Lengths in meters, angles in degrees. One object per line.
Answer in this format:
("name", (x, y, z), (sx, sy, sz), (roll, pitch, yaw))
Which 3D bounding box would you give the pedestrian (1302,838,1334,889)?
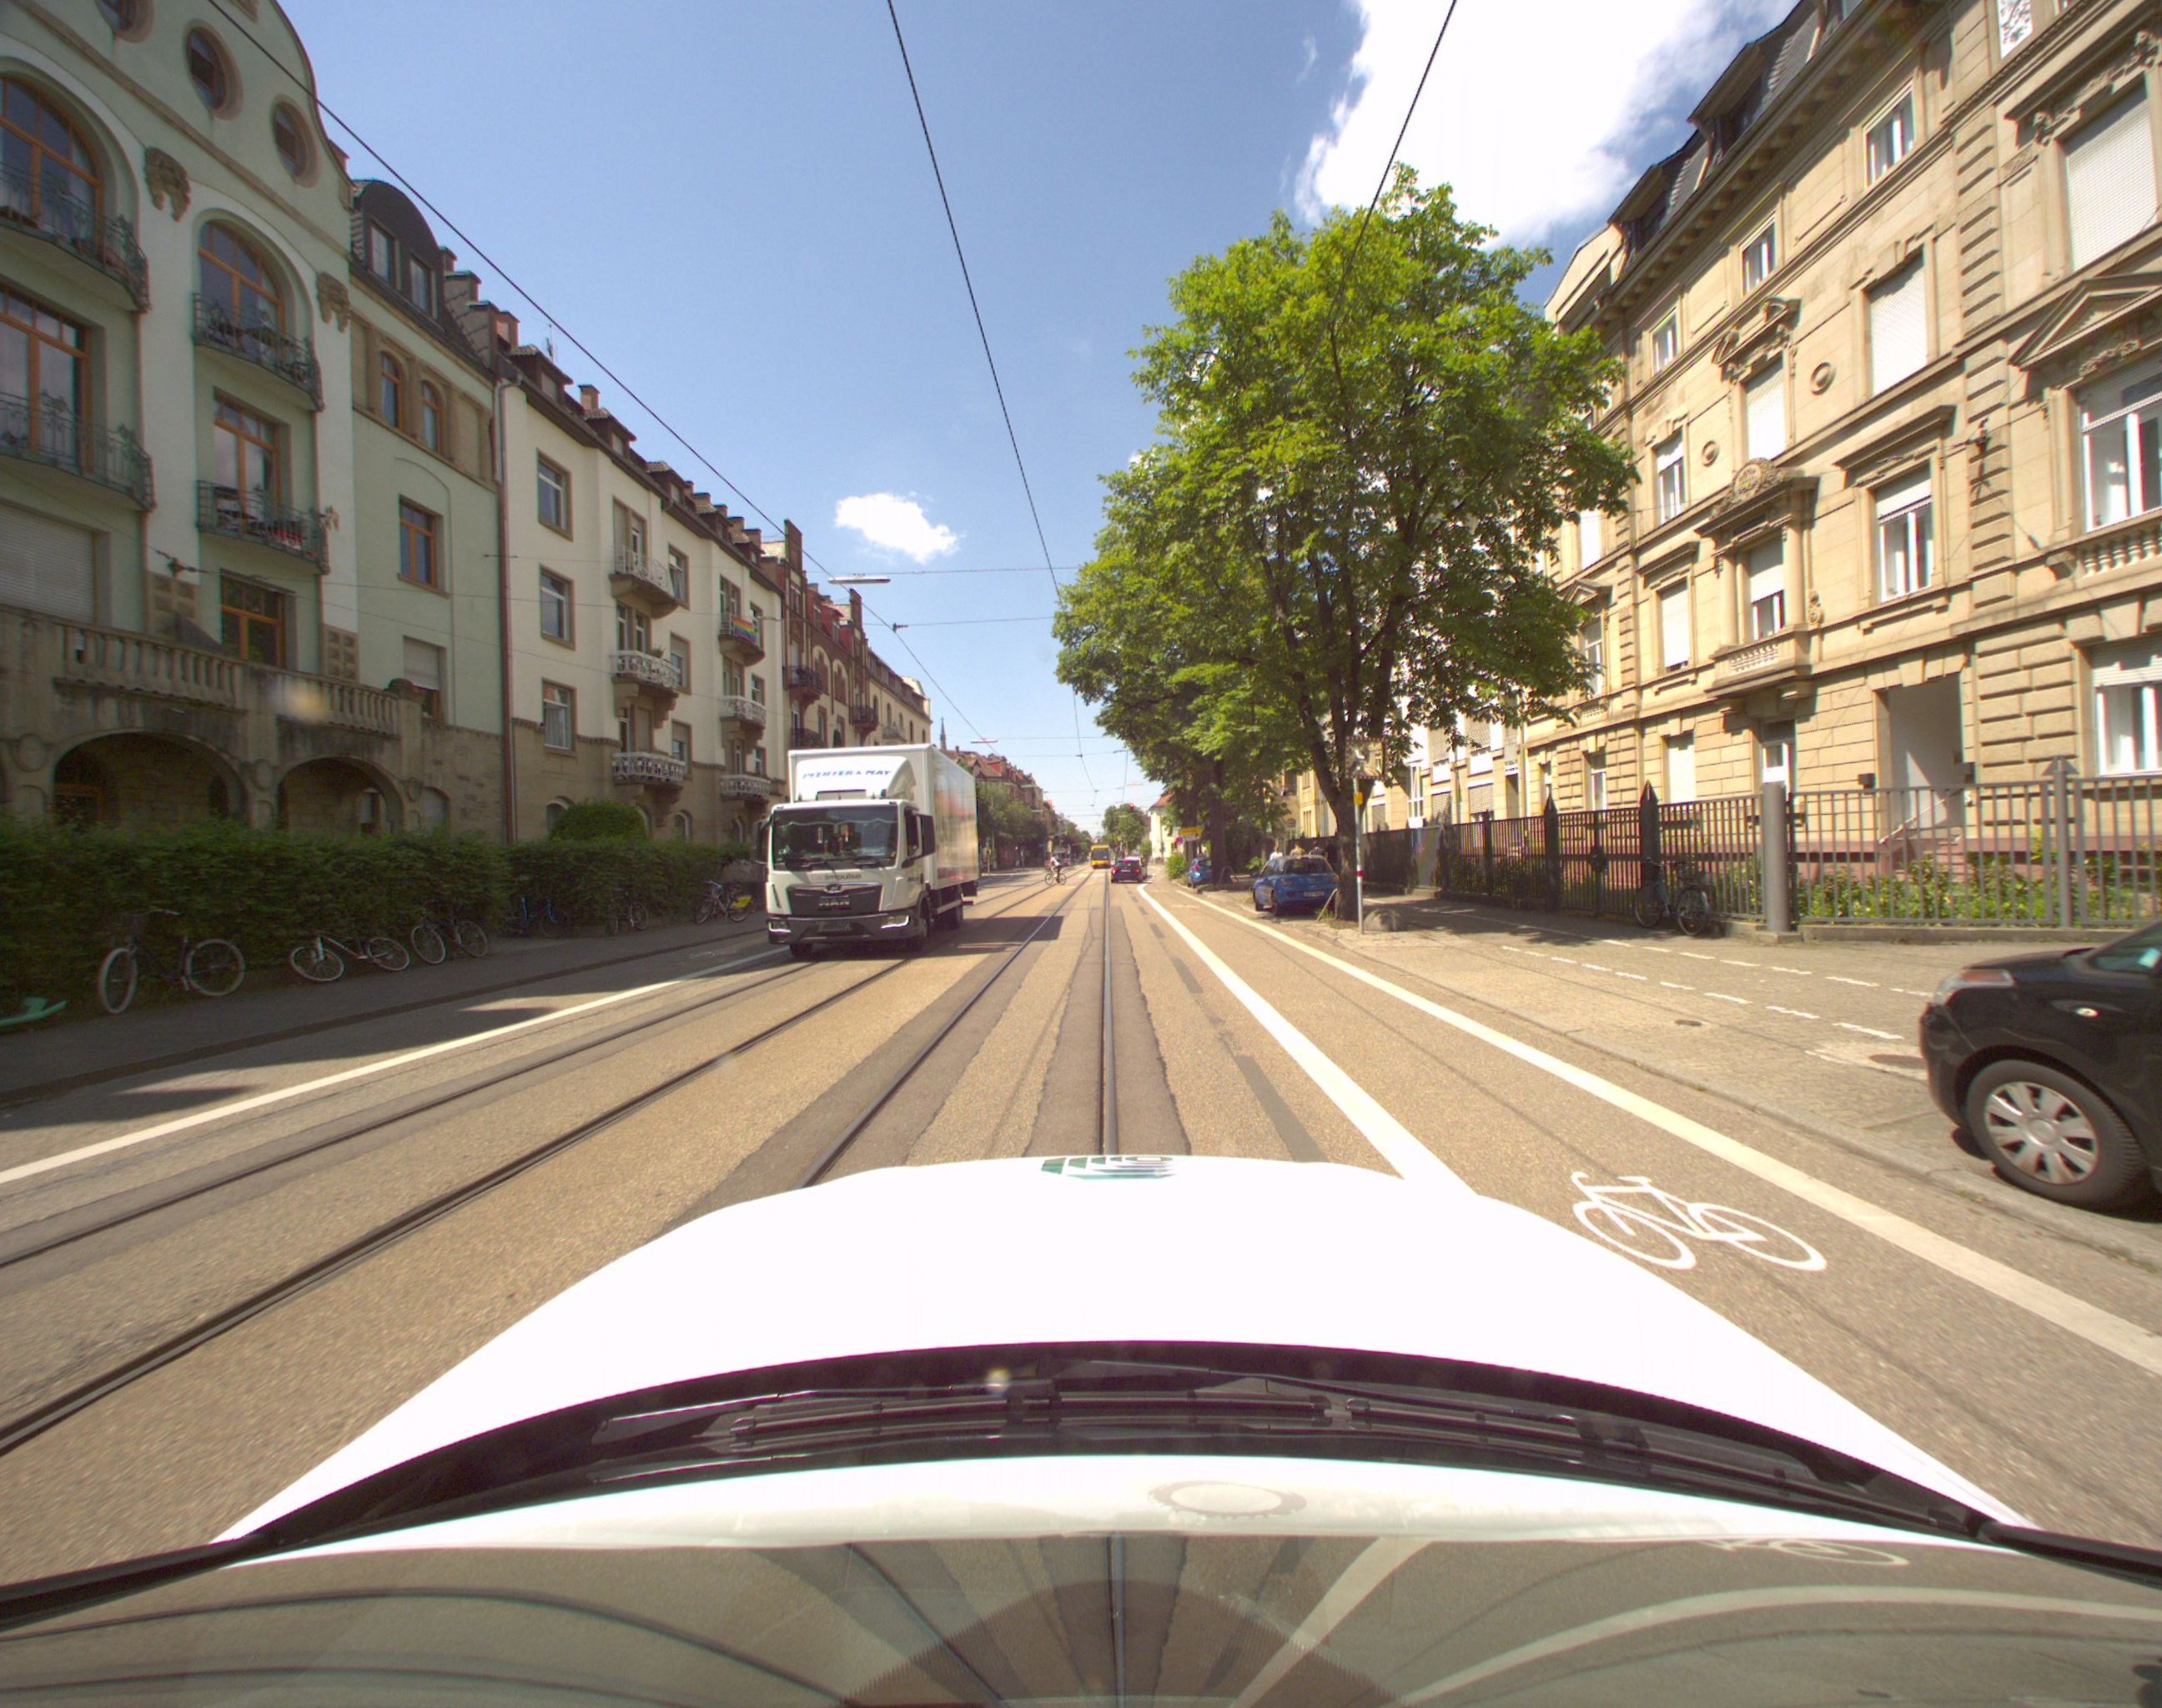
("pedestrian", (8.302, 0.329, 28.593), (0.784, 1.761, 1.052), (-2, 0, 1))

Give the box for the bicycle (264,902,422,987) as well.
("bicycle", (-10.381, 1.242, 11.546), (0.605, 0.989, 1.708), (2, 0, 1))

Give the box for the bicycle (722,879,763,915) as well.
("bicycle", (-10.020, 1.269, 24.155), (0.411, 0.966, 1.726), (2, 0, 2))

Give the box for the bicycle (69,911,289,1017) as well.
("bicycle", (-10.486, 1.240, 9.572), (0.605, 0.989, 1.708), (2, 0, 1))

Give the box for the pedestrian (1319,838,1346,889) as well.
("pedestrian", (9.217, 0.357, 29.888), (0.658, 1.811, 0.977), (-2, 0, 1))

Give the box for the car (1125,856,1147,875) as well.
("car", (4.552, 0.937, 66.902), (1.682, 1.514, 3.828), (0, 0, 6))

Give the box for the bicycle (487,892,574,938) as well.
("bicycle", (-11.732, 1.303, 17.368), (1.566, 0.928, 0.391), (1, 0, 1))

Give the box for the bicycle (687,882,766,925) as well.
("bicycle", (-9.180, 1.268, 21.132), (0.602, 0.999, 1.786), (-2, 0, 37))

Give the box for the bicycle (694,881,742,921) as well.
("bicycle", (-9.910, 1.262, 22.278), (0.462, 0.999, 1.708), (2, 0, 2))

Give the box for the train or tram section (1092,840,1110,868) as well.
("train or tram section", (2.692, 0.011, 109.793), (2.182, 3.482, 8.848), (-2, 0, 2))

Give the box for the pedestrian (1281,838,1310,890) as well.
("pedestrian", (7.523, 0.347, 28.590), (0.702, 1.776, 0.947), (-2, 0, 1))

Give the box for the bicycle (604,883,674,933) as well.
("bicycle", (-10.252, 1.232, 18.959), (0.605, 1.032, 1.772), (2, 0, 1))

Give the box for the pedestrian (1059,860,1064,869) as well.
("pedestrian", (-2.736, 1.495, 112.459), (0.612, 1.243, 0.627), (-2, -1, -4))

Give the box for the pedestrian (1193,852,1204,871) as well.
("pedestrian", (10.374, 0.657, 71.847), (0.854, 1.645, 0.837), (-2, -1, 1))

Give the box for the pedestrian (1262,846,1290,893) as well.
("pedestrian", (7.117, 0.553, 29.716), (0.763, 1.651, 0.975), (-2, 0, 3))

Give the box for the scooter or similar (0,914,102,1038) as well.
("scooter or similar", (-10.442, 1.191, 7.839), (0.404, 1.120, 1.292), (-1, 0, 4))

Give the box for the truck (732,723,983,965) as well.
("truck", (-3.912, -0.147, 16.605), (2.777, 3.619, 8.253), (-2, 0, 0))

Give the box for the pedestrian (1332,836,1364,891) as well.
("pedestrian", (9.054, 0.324, 27.661), (0.682, 1.797, 1.084), (-2, 0, 2))

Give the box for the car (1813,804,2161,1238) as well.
("car", (4.897, 0.595, 2.450), (1.723, 1.616, 4.086), (-4, 0, 2))

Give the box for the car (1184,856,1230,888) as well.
("car", (6.063, 0.830, 39.540), (1.671, 1.443, 3.721), (-2, 0, 1))

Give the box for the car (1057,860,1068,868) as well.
("car", (-3.333, 1.858, 148.306), (1.816, 1.413, 4.431), (-2, 0, 2))

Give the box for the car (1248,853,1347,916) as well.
("car", (5.543, 0.739, 21.298), (1.685, 1.453, 3.474), (-2, 0, 1))

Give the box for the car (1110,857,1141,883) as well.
("car", (2.665, 0.917, 48.053), (1.715, 1.409, 4.569), (0, 0, 4))

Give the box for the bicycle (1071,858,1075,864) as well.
("bicycle", (-1.808, 1.580, 184.137), (0.725, 1.101, 1.717), (-2, 0, 4))

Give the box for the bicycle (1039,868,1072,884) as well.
("bicycle", (-1.481, 1.265, 46.546), (1.797, 0.817, 0.759), (1, 1, 38))

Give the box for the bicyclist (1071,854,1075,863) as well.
("bicyclist", (-1.824, 1.053, 184.215), (0.719, 1.870, 0.826), (-2, -1, 3))

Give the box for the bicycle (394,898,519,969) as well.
("bicycle", (-10.226, 1.270, 13.423), (0.605, 0.976, 1.772), (2, 0, 1))

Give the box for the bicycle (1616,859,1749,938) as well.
("bicycle", (9.008, 0.627, 12.306), (0.605, 1.071, 1.982), (-2, 0, 4))

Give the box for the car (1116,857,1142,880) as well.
("car", (3.269, 0.955, 54.935), (1.677, 1.484, 3.688), (-2, 0, 4))

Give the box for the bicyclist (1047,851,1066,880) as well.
("bicyclist", (-1.405, 0.657, 46.500), (0.820, 1.663, 0.763), (-1, -1, 40))
